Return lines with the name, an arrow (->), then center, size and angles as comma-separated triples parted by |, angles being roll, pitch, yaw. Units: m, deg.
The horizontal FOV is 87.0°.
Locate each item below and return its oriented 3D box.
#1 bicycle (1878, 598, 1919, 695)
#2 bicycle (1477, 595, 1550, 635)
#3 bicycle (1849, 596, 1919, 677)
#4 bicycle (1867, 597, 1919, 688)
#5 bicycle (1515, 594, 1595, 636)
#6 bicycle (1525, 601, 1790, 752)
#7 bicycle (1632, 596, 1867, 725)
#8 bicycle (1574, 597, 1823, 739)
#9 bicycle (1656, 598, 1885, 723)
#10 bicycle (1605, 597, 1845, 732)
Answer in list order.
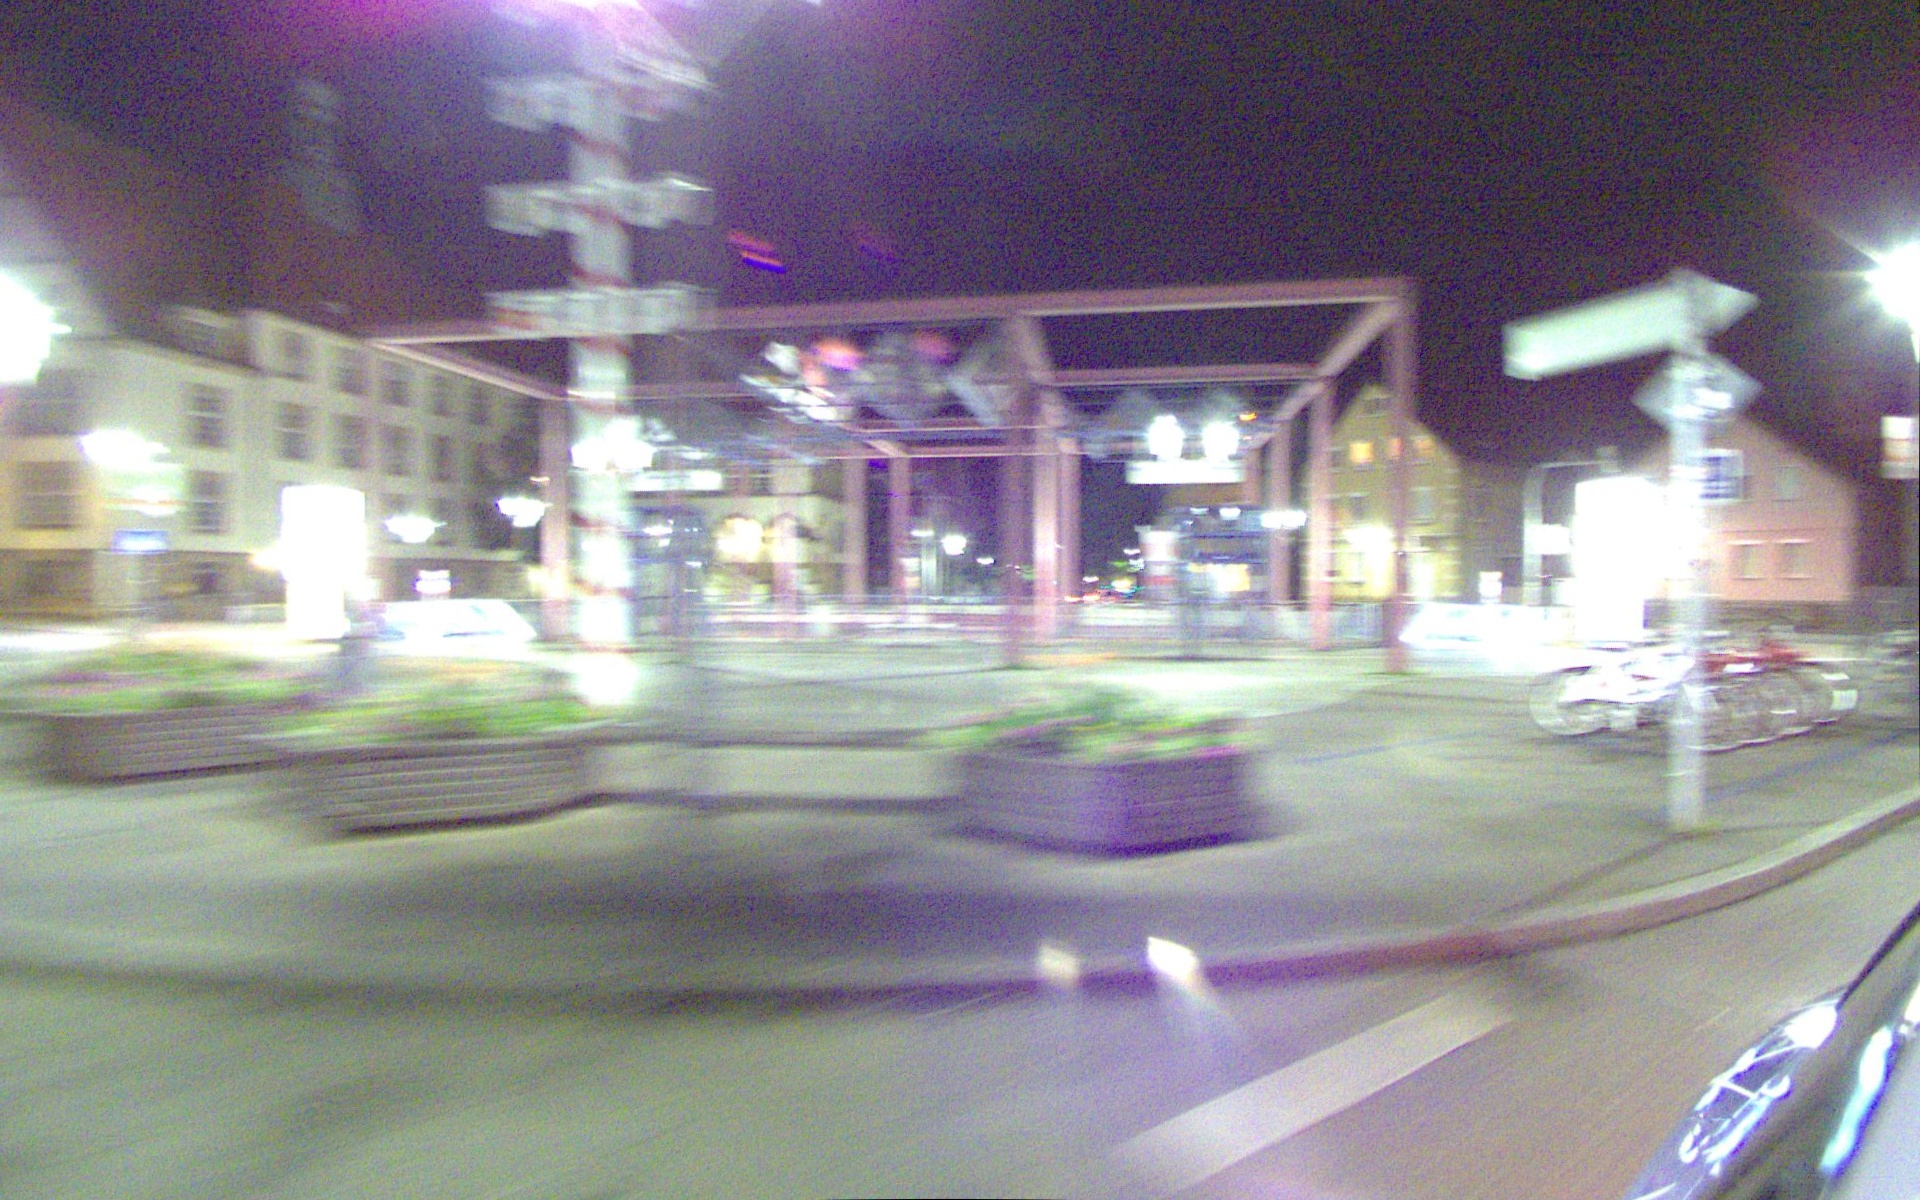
bicycle -> 12.072, 0.567, 11.847 | 0.712, 1.149, 1.869 | 0, 1, -38
bicycle -> 16.437, 0.438, 30.069 | 1.770, 1.142, 0.650 | 0, 0, 3
bicycle -> 14.048, 0.525, 14.573 | 0.674, 1.155, 1.774 | 0, 1, -37
bicycle -> 12.830, 0.554, 12.916 | 0.618, 1.149, 1.792 | 0, 1, -38
bicycle -> 16.189, 0.398, 27.583 | 1.770, 1.142, 0.650 | 0, 0, 3
bicycle -> 6.098, 0.605, 8.937 | 0.746, 1.165, 1.787 | 0, 1, -38
bicycle -> 7.893, 0.551, 10.207 | 0.571, 1.165, 1.779 | 0, 1, -32
bicycle -> 6.780, 0.567, 9.380 | 0.603, 1.165, 1.776 | 0, 1, -38
bicycle -> 8.378, 0.579, 10.545 | 0.571, 1.165, 1.779 | 0, 1, -32
bicycle -> 7.381, 0.568, 9.844 | 0.571, 1.165, 1.776 | 0, 1, -38
